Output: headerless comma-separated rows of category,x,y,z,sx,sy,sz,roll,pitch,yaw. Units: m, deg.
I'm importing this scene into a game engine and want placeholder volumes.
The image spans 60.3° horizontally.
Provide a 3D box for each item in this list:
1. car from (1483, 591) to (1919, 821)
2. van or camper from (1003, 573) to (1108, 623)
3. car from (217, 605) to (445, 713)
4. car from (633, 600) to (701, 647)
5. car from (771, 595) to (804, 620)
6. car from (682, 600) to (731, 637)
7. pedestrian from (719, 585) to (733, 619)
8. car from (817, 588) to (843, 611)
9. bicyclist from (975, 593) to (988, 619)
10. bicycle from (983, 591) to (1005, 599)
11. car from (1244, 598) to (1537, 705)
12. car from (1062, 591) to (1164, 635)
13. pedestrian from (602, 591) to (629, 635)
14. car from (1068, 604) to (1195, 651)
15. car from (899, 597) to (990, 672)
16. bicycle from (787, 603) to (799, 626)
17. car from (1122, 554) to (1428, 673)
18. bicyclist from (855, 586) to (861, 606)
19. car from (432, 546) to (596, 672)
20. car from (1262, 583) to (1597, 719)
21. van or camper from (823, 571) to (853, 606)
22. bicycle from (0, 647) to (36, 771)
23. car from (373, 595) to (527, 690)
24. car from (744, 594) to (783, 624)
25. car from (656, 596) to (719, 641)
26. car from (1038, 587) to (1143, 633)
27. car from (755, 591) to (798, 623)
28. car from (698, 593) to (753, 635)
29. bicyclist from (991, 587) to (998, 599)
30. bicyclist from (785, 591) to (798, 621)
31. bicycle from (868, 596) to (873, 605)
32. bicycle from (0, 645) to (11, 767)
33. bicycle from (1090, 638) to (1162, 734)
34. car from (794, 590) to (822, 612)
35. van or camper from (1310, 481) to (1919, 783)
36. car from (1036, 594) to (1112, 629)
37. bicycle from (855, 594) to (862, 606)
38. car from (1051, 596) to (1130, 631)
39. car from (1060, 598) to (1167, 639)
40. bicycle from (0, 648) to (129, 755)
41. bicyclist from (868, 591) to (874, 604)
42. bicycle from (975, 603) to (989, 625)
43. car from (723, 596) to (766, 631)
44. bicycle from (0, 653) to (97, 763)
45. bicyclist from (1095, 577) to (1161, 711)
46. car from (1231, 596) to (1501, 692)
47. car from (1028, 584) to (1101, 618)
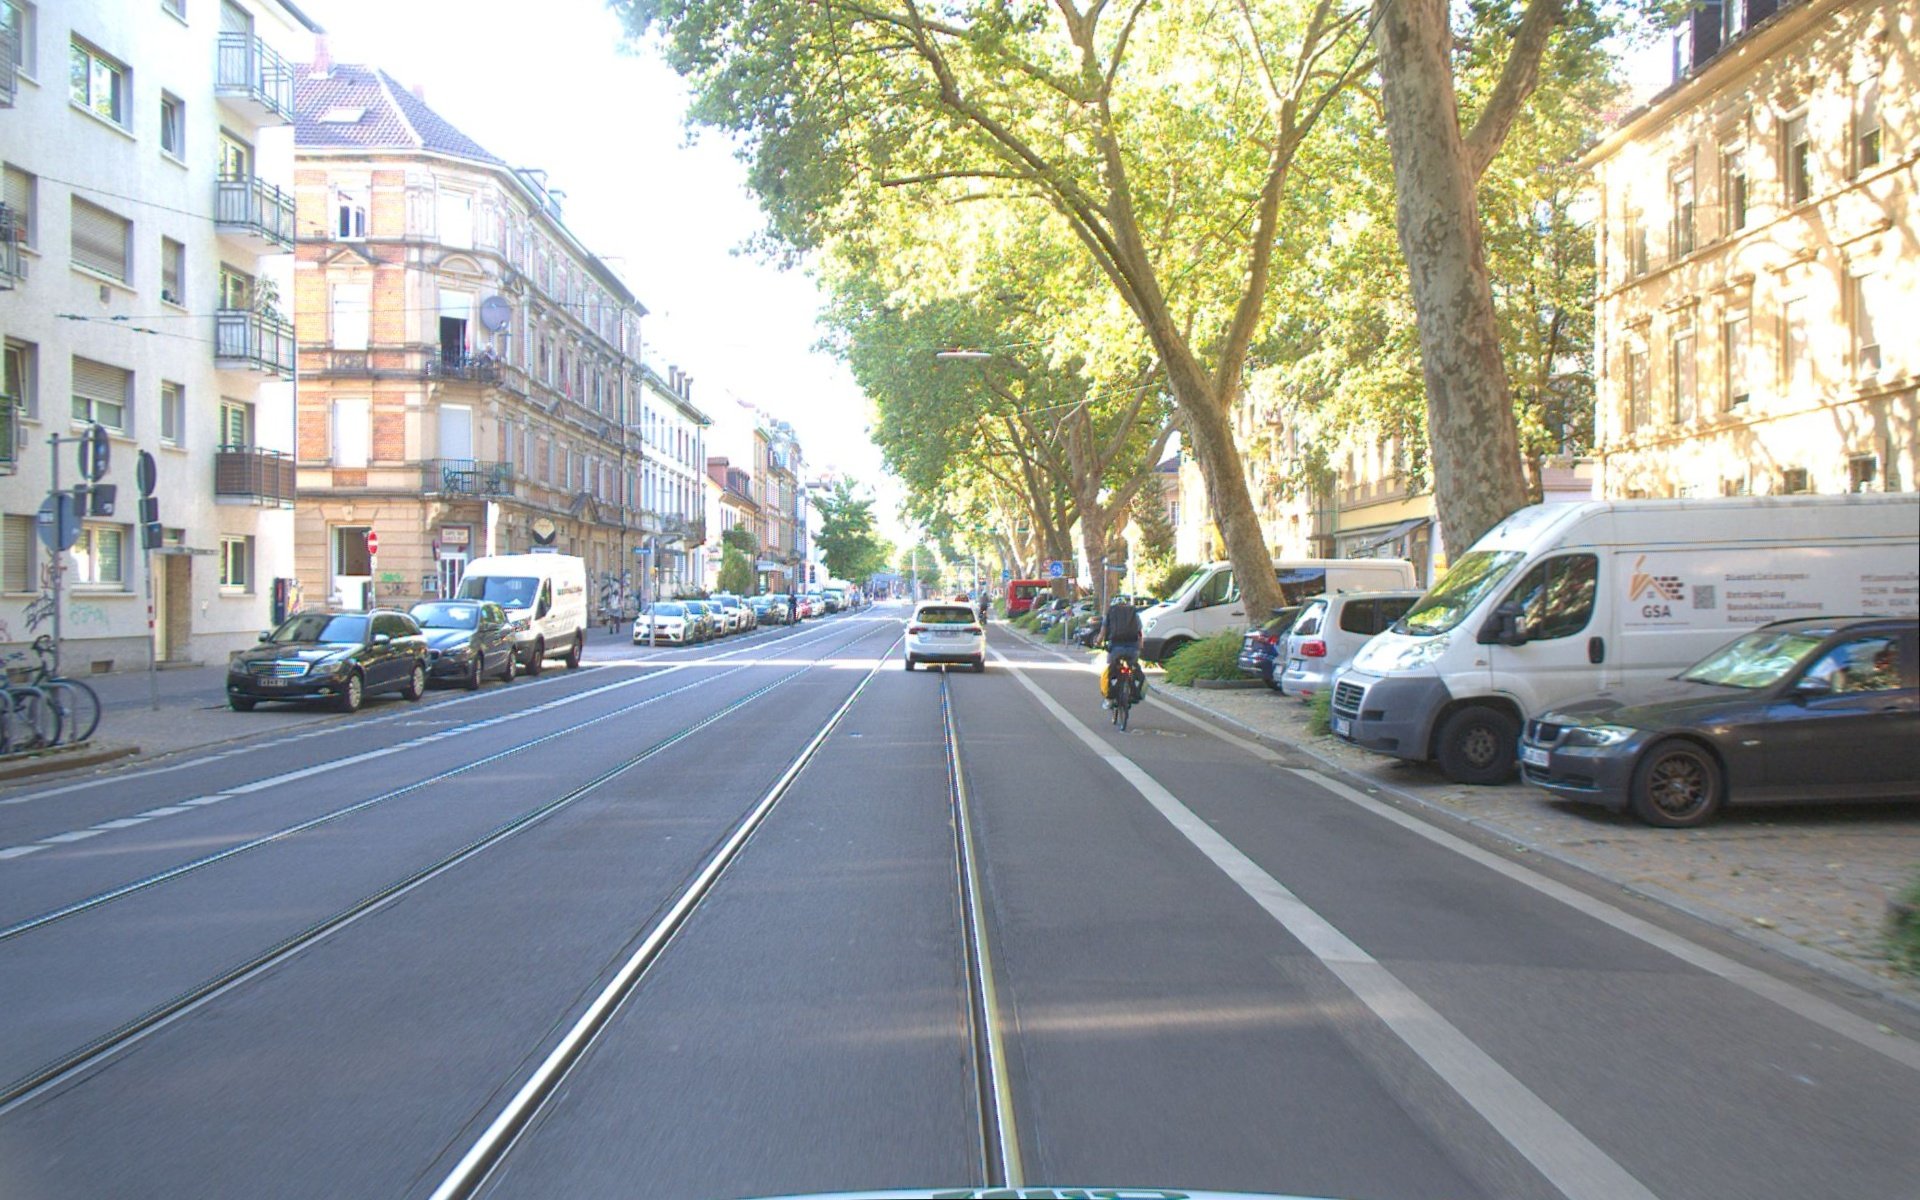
car,6.431,0.770,12.625,4.299,1.579,1.782,1,0,-2
van or camper,5.373,-0.123,93.968,5.699,2.563,2.287,-2,1,-3
car,-9.455,0.828,25.284,1.683,1.482,4.572,0,0,1
car,-10.062,0.791,57.008,1.705,1.518,4.043,1,0,-2
car,-10.788,0.474,103.758,1.652,1.502,4.257,1,0,-1
car,-10.341,0.727,67.704,1.666,1.445,3.996,1,0,-5
pedestrian,-14.080,0.141,99.678,0.744,2.049,0.829,0,0,-3
car,-11.085,-0.042,141.495,1.925,1.812,4.935,3,0,-2
bicyclist,1.185,0.326,90.155,0.665,1.362,0.525,1,0,-1
bicycle,4.381,-0.625,212.599,2.711,1.017,0.593,1,0,14
car,6.338,0.740,24.640,3.874,1.504,1.796,0,0,-1
car,6.199,0.516,67.315,3.947,1.672,1.680,-1,0,-3
pedestrian,-13.562,0.509,65.139,0.650,1.694,0.767,1,0,31
car,5.723,0.894,55.383,4.014,1.517,1.830,0,0,-3
car,-0.384,0.694,35.754,1.805,1.506,3.836,1,0,-3
bicycle,-8.612,0.746,85.295,0.412,1.170,2.231,-1,0,-2
car,6.314,0.256,33.659,5.868,2.322,2.006,0,1,1
bicyclist,-8.871,-0.355,144.495,0.463,1.664,0.800,0,0,0
car,-9.761,0.169,36.688,2.022,2.580,5.667,0,0,1
car,6.106,0.643,21.799,3.876,1.684,1.795,0,-1,-4
van or camper,-11.750,-1.090,159.449,2.171,3.195,7.114,1,0,1
bicycle,-9.770,1.006,15.741,1.751,1.138,0.425,1,0,6
car,-9.440,0.731,30.944,1.684,1.660,4.345,0,0,-2
car,-10.462,0.444,88.237,1.522,1.542,3.925,0,0,2
car,-10.253,0.662,62.561,1.705,1.589,4.784,1,0,-2
car,5.527,0.427,70.337,4.177,1.749,1.848,-3,0,-3
car,-10.327,0.383,93.346,1.818,1.733,4.763,0,0,0
car,-10.283,0.596,72.920,1.750,1.753,4.718,1,0,-1
bicyclist,4.433,-0.919,212.570,0.721,1.617,0.587,0,0,12
bicyclist,-8.666,0.292,85.200,0.570,1.508,0.807,-1,0,-1
bicycle,-10.602,0.051,196.317,0.488,0.959,1.922,-2,0,1
bicycle,-9.859,0.976,15.449,1.780,1.138,0.425,1,0,6
bicycle,2.027,1.025,20.468,0.583,1.022,2.511,3,0,-1
car,-11.004,0.062,119.862,1.790,1.529,4.686,1,0,-3
van or camper,6.397,0.259,15.163,5.910,2.534,2.107,-1,0,-2
car,5.464,0.556,79.654,3.522,1.544,1.693,-2,0,-1
bicycle,-8.891,-0.012,144.333,0.471,1.105,1.846,0,0,0
car,6.077,0.632,77.243,3.522,1.627,1.541,0,-1,-1
car,5.971,0.703,64.494,3.947,1.506,1.681,-1,0,-2
bicycle,-9.703,1.045,17.306,1.853,1.056,0.402,1,0,6
bicyclist,-10.572,-0.338,196.261,0.625,1.529,1.070,-1,0,1
bicycle,1.186,0.759,90.027,0.666,1.175,2.964,1,0,0
car,-10.168,0.619,78.269,1.629,1.547,4.062,1,0,-3
bicycle,-9.726,1.068,16.695,1.853,1.056,0.402,1,0,6
bicyclist,2.069,0.530,20.465,0.602,1.579,0.935,4,0,-1
car,6.603,0.696,27.174,3.972,1.485,1.795,0,0,-3
car,5.623,0.064,89.441,3.743,1.678,1.766,-2,-1,-4
